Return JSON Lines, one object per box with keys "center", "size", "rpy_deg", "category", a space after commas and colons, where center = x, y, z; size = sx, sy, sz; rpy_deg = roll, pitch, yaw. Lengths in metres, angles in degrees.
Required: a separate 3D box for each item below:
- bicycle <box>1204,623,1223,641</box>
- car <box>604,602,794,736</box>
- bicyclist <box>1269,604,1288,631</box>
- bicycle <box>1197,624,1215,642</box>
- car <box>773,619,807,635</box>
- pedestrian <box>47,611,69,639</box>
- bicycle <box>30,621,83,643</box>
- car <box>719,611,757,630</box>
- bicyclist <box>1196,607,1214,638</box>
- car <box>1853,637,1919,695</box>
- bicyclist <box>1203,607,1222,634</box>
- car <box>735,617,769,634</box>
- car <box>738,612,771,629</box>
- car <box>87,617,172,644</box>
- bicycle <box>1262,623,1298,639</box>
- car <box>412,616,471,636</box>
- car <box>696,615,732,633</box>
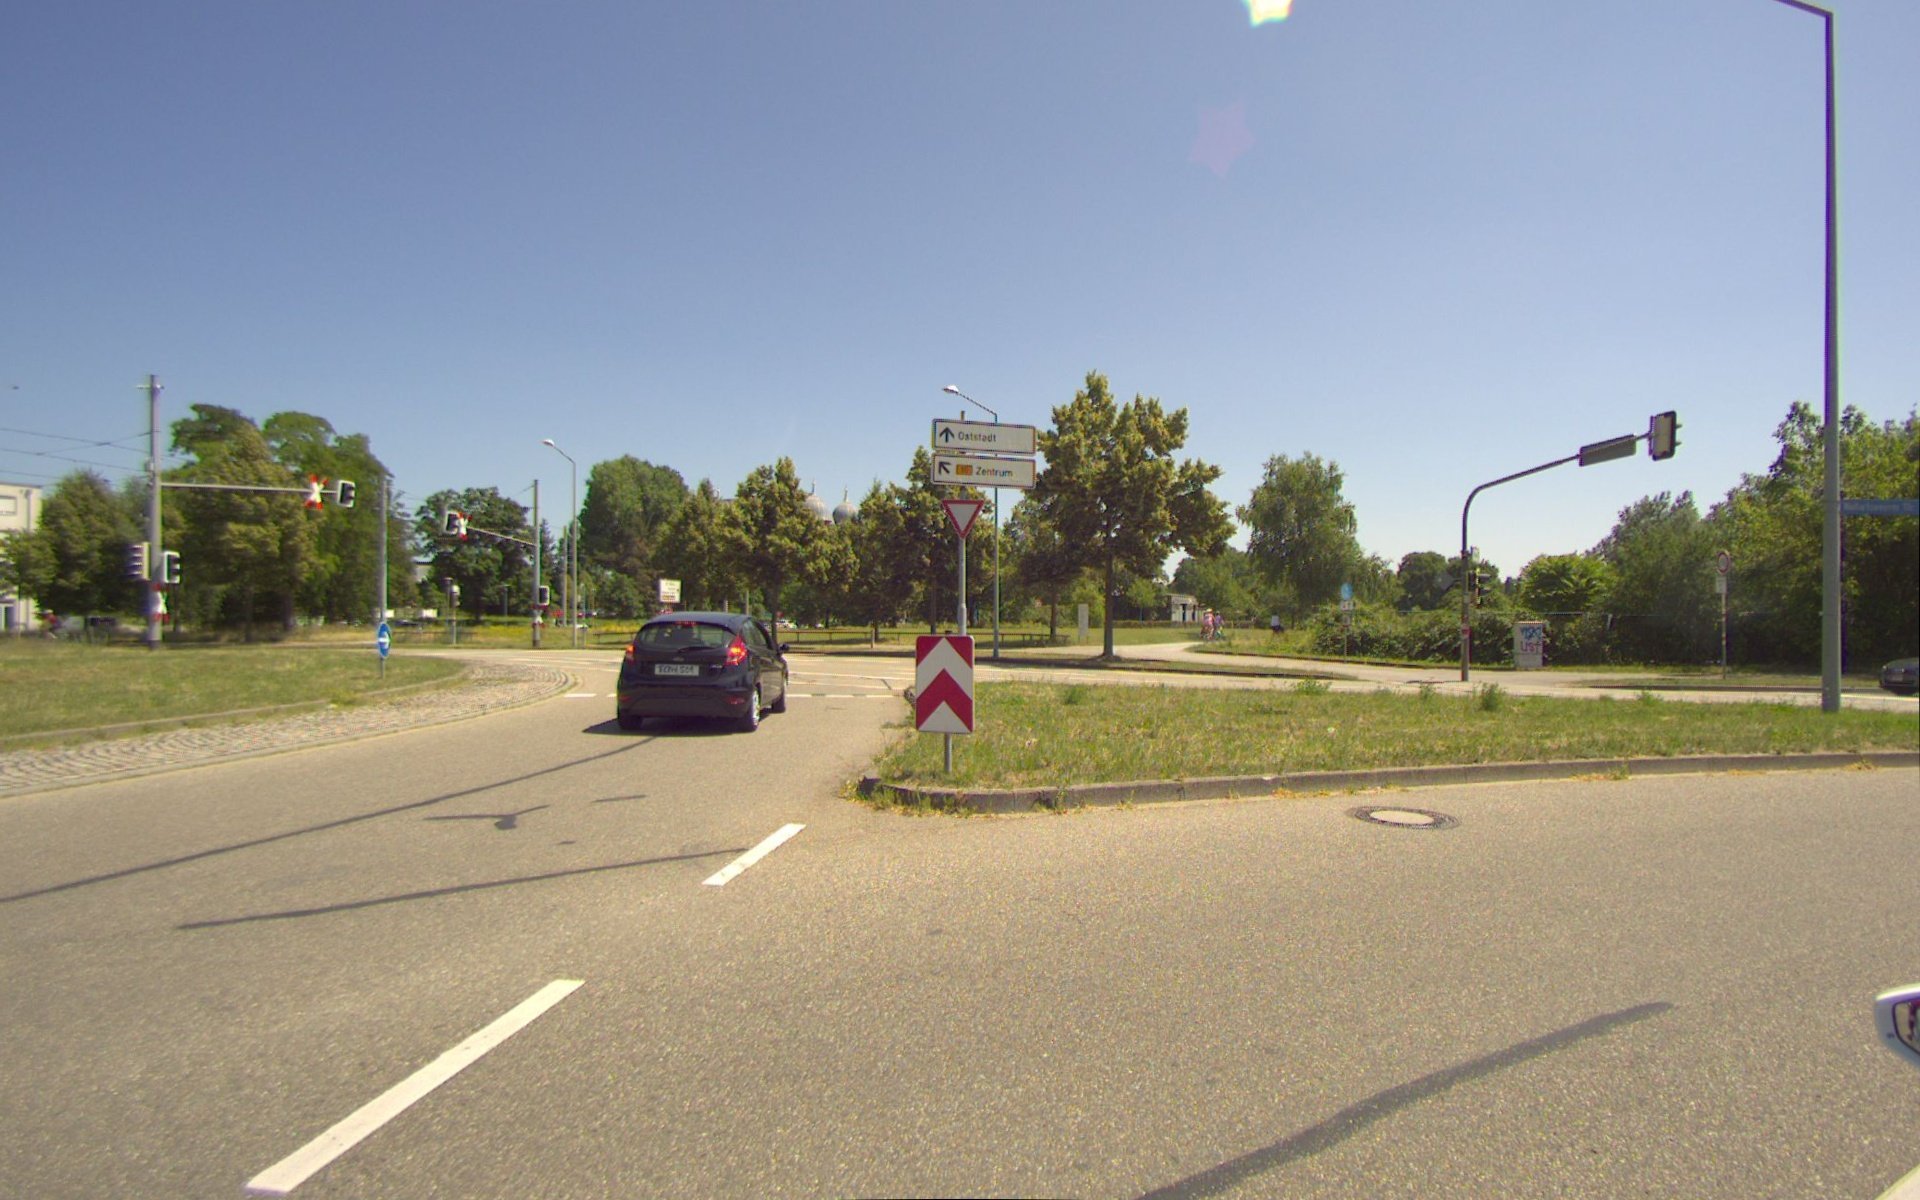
{"center": [14.541, 1.817, 57.555], "size": [0.881, 0.912, 1.762], "rpy_deg": [1, 1, 18], "category": "bicycle"}
{"center": [-3.311, 0.823, 13.436], "size": [1.602, 1.528, 3.819], "rpy_deg": [0, -1, -1], "category": "car"}
{"center": [19.643, 1.108, 61.872], "size": [0.971, 1.635, 0.747], "rpy_deg": [3, -3, -42], "category": "bicyclist"}
{"center": [13.189, 1.764, 53.811], "size": [0.880, 0.912, 2.228], "rpy_deg": [1, -2, 13], "category": "bicycle"}
{"center": [-22.362, 3.518, 132.150], "size": [3.920, 2.040, 2.001], "rpy_deg": [1, -2, 3], "category": "car"}
{"center": [-47.936, 1.344, 53.380], "size": [0.812, 1.469, 0.701], "rpy_deg": [3, -3, -41], "category": "pedestrian"}
{"center": [-47.960, 1.692, 53.361], "size": [2.042, 1.129, 0.721], "rpy_deg": [3, -3, -41], "category": "bicycle"}
{"center": [-25.033, 2.333, 113.238], "size": [3.923, 2.040, 1.999], "rpy_deg": [1, -2, -4], "category": "car"}
{"center": [13.066, 1.218, 53.630], "size": [0.940, 1.631, 1.187], "rpy_deg": [0, -2, 13], "category": "bicyclist"}
{"center": [24.082, 1.544, 23.737], "size": [4.321, 1.287, 1.864], "rpy_deg": [0, -1, -1], "category": "car"}
{"center": [14.490, 1.160, 57.618], "size": [0.941, 1.552, 1.186], "rpy_deg": [0, 0, 18], "category": "bicyclist"}
{"center": [-25.821, 3.153, 124.817], "size": [3.923, 2.040, 1.999], "rpy_deg": [1, -2, -4], "category": "car"}
{"center": [-26.016, 2.638, 127.231], "size": [3.923, 2.040, 1.999], "rpy_deg": [1, -2, -4], "category": "car"}
{"center": [-55.518, 2.031, 67.185], "size": [1.967, 1.706, 3.988], "rpy_deg": [-1, -3, 35], "category": "car"}
{"center": [19.753, 1.910, 61.960], "size": [2.907, 0.924, 0.732], "rpy_deg": [3, -3, -41], "category": "bicycle"}
{"center": [-44.041, 2.227, 85.422], "size": [3.926, 1.594, 1.998], "rpy_deg": [1, -2, -7], "category": "car"}
{"center": [-29.203, 2.870, 119.338], "size": [3.923, 2.040, 1.999], "rpy_deg": [1, -2, -4], "category": "car"}
